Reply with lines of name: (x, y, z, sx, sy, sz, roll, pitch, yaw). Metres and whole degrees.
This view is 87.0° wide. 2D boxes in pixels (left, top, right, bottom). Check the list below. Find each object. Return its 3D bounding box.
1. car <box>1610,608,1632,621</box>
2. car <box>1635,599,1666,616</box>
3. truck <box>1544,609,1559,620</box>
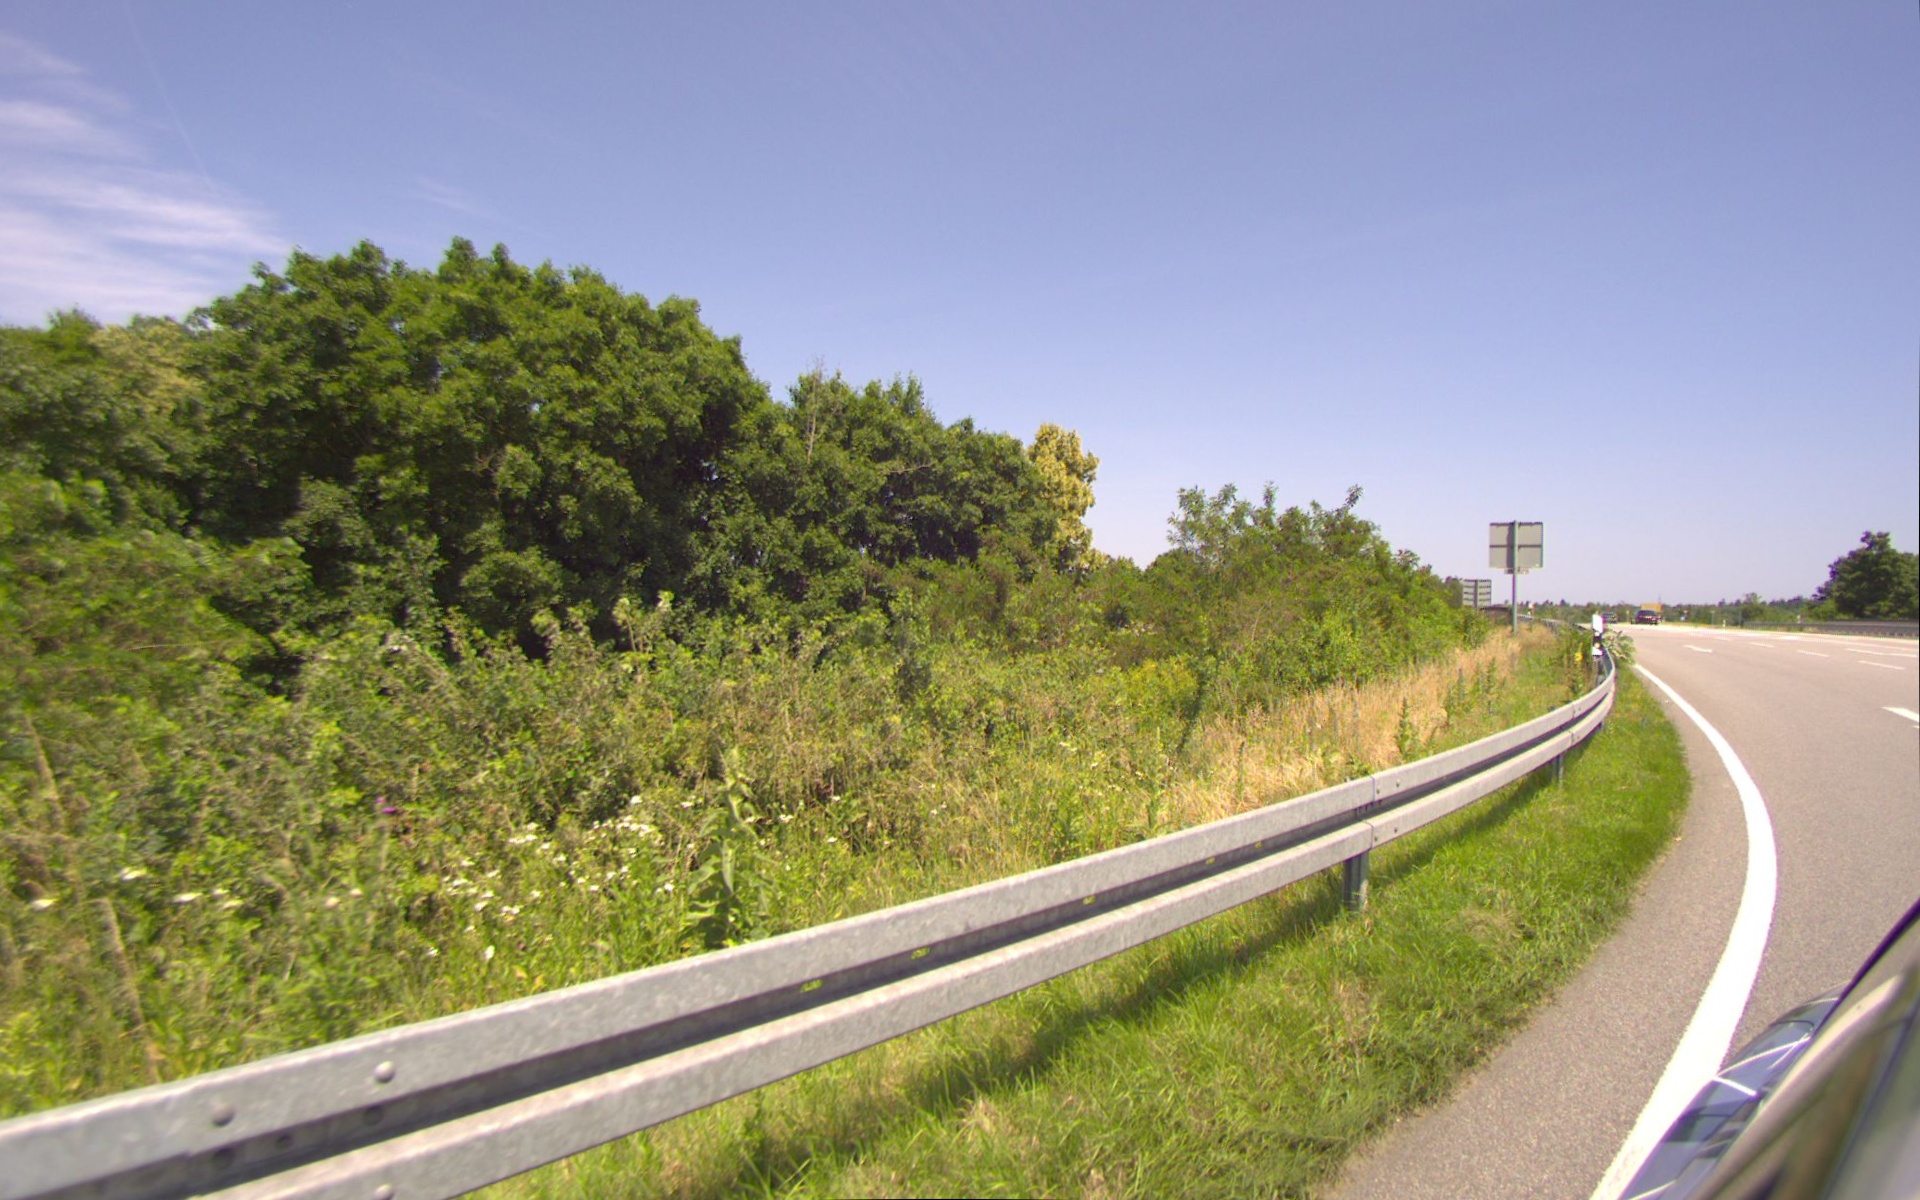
car: (80.745, 1.730, 123.676, 1.714, 1.471, 4.746, 3, 1, 28)
car: (63.634, 0.698, 93.312, 1.723, 1.418, 4.340, 3, 1, 26)
truck: (118.370, 2.897, 202.429, 2.192, 2.271, 5.323, 1, 0, 27)
